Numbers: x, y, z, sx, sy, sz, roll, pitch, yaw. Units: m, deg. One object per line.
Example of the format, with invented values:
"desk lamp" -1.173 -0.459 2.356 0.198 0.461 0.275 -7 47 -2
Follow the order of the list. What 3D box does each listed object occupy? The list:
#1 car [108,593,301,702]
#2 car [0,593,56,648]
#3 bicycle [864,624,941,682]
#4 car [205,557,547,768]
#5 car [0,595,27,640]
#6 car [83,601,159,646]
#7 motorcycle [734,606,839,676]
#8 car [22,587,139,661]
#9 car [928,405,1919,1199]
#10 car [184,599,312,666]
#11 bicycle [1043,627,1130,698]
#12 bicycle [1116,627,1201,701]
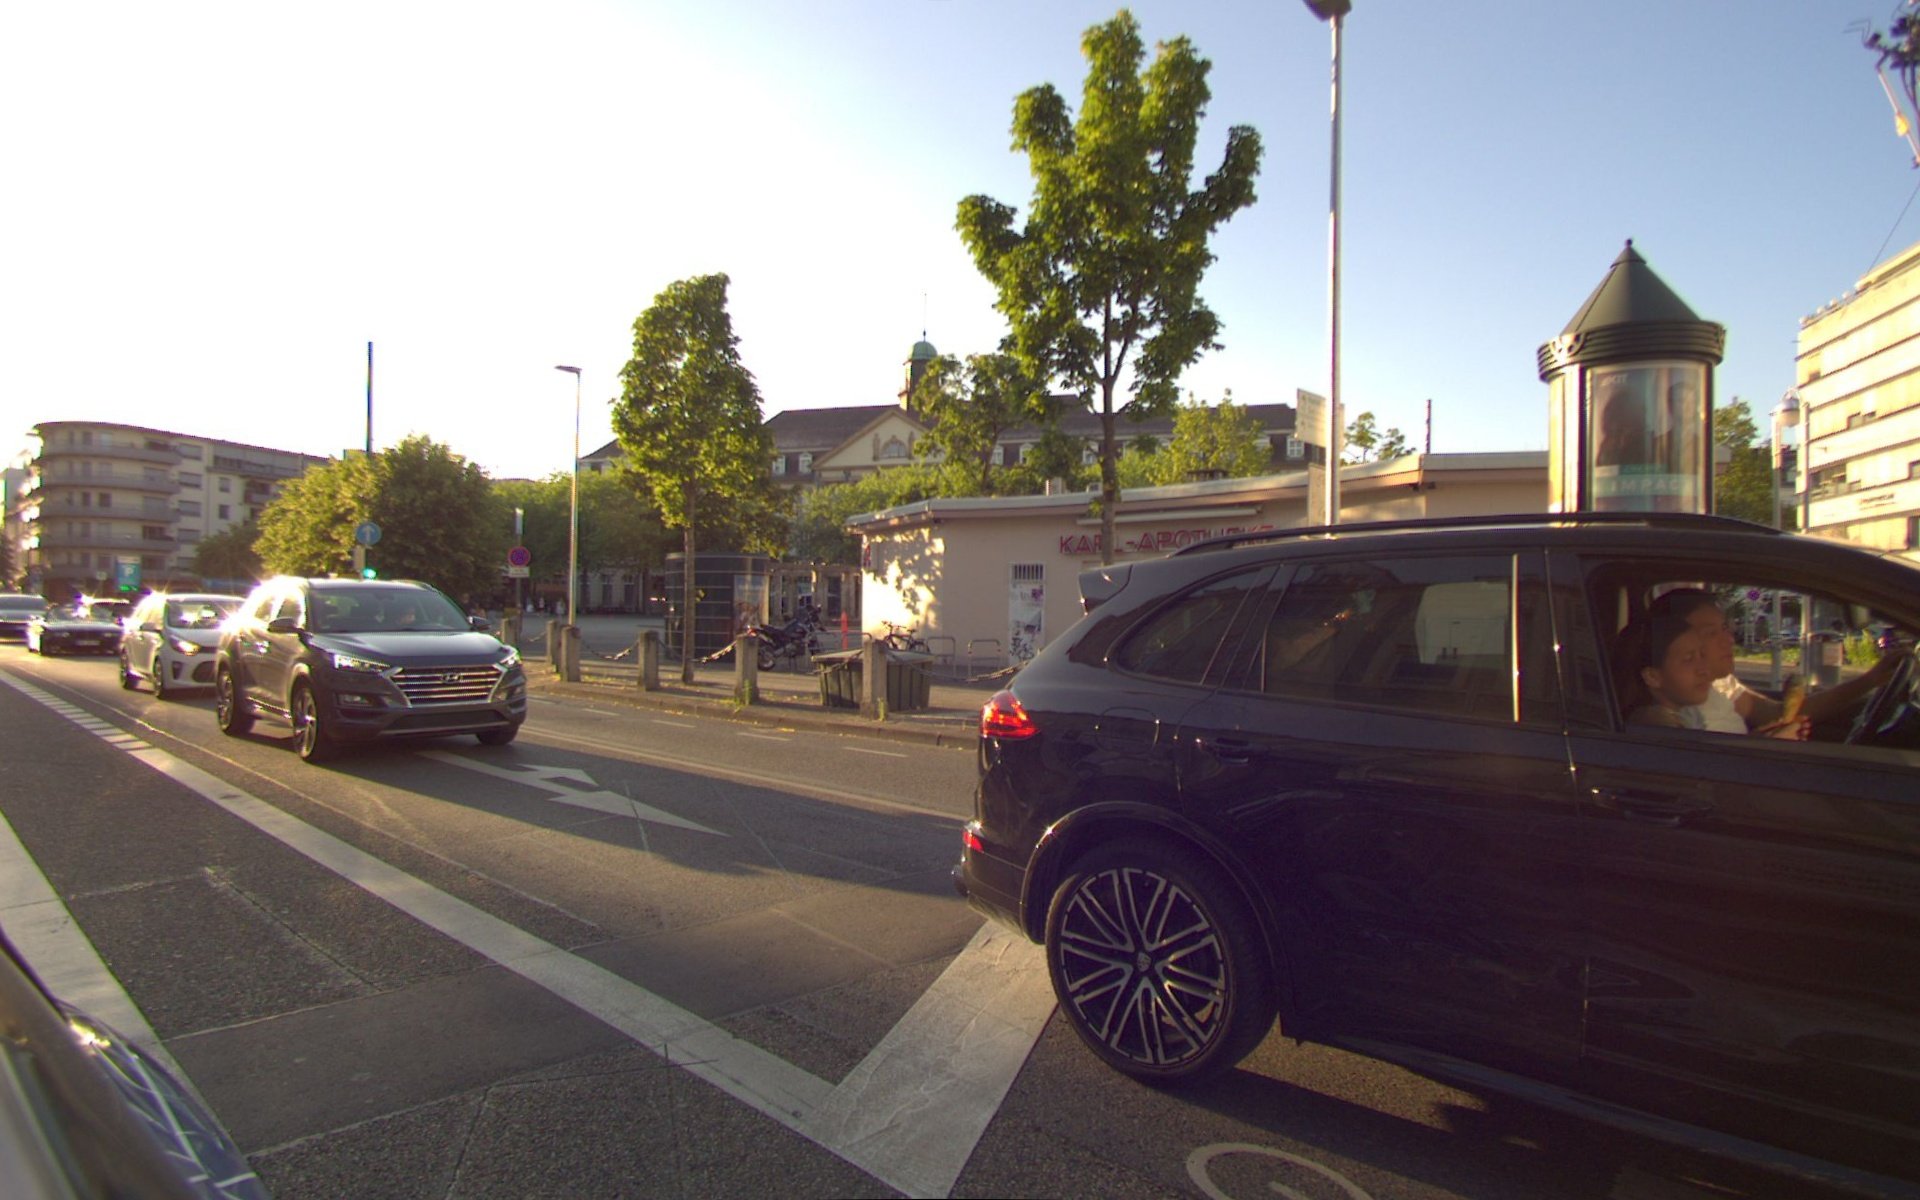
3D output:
"car" -11.798 0.669 15.707 3.985 1.483 1.695 0 -1 43
"car" -32.107 0.687 34.270 3.985 1.754 1.803 0 -3 43
"bicycle" -1.141 1.050 20.412 0.395 1.111 1.787 -1 -2 41
"car" -6.079 0.538 10.311 4.259 1.711 1.803 0 -2 43
"car" -40.181 0.716 42.020 4.001 1.785 1.854 -1 -2 44
"car" -34.660 0.949 41.795 3.984 1.711 1.803 0 -4 42
"motorcycle" -3.792 0.891 22.367 0.700 1.457 2.367 -1 -2 41
"car" -22.940 0.627 26.364 3.985 1.754 1.803 0 -3 43
"car" 2.182 0.499 2.730 4.567 1.710 1.781 0 -1 41
"car" -18.699 0.812 26.525 3.998 1.615 1.856 0 -1 41
"bicycle" 2.147 1.024 16.933 0.449 1.122 1.845 0 -1 42
"bicycle" 3.236 1.018 16.403 0.449 1.122 1.845 0 -1 42
